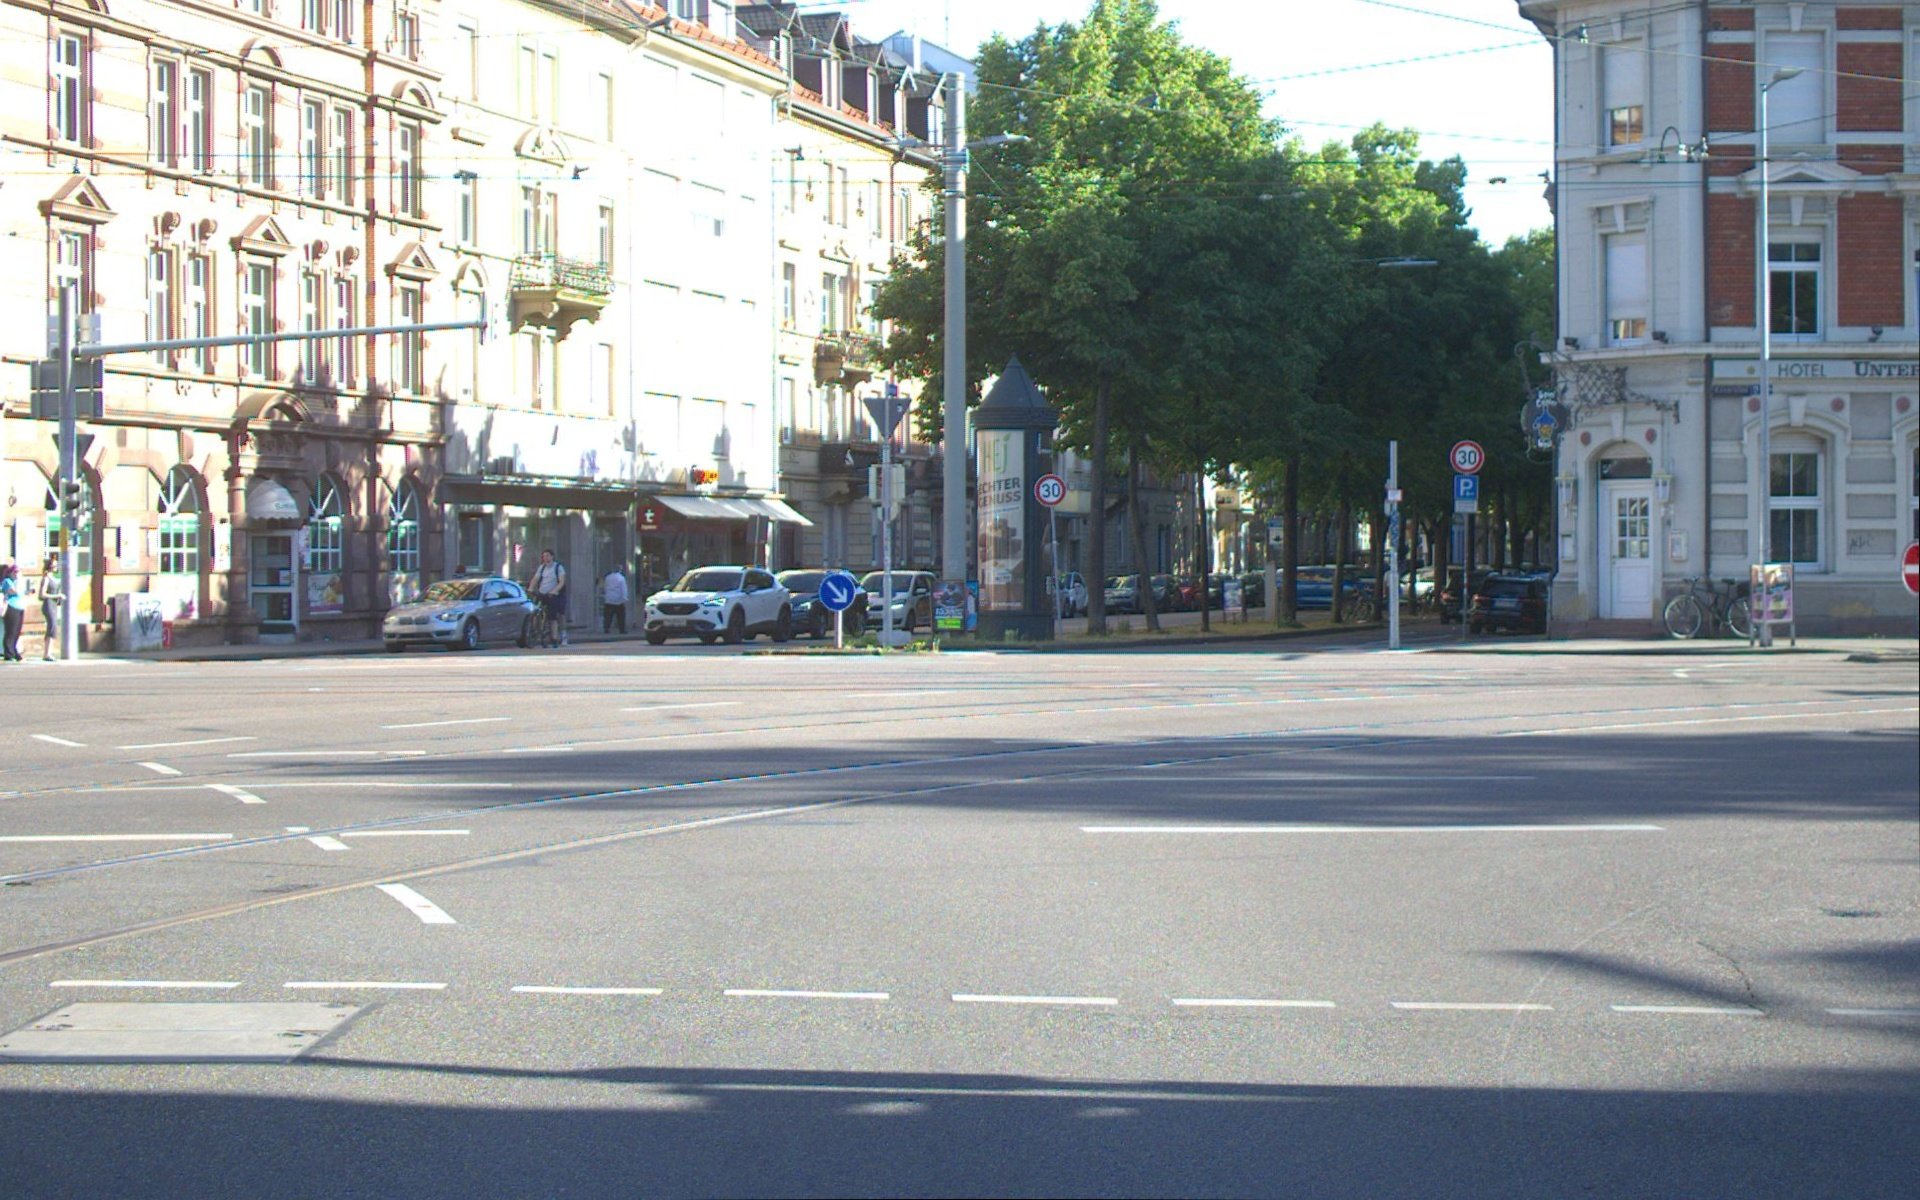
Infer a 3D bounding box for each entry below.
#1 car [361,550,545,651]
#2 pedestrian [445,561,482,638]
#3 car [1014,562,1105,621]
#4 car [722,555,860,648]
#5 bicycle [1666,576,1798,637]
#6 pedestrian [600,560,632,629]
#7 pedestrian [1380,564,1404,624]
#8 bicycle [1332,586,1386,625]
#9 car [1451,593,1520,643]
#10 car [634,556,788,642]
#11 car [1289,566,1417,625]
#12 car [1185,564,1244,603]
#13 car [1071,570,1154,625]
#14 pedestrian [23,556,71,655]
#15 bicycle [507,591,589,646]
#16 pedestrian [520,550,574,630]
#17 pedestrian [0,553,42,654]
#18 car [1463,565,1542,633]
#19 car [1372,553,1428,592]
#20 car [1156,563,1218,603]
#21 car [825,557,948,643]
[{"bbox_3d":[-9.859,-0.006,67.159,1.995,1.897,3.997,1,1,17],"label":"car"},{"bbox_3d":[-10.682,-0.014,74.017,0.544,1.626,0.706,1,0,13],"label":"pedestrian"},{"bbox_3d":[3.274,-0.285,112.715,1.995,1.897,3.997,1,1,17],"label":"car"},{"bbox_3d":[-3.571,0.018,73.214,1.994,1.897,3.998,1,1,11],"label":"car"},{"bbox_3d":[12.811,0.100,57.087,2.049,0.994,0.630,0,0,3],"label":"bicycle"},{"bbox_3d":[-8.205,-0.135,81.978,0.544,1.626,0.706,1,0,13],"label":"pedestrian"},{"bbox_3d":[12.860,-0.185,102.385,0.640,1.790,0.490,1,0,12],"label":"pedestrian"},{"bbox_3d":[11.499,0.161,99.083,0.626,1.081,1.703,1,1,-31],"label":"bicycle"},{"bbox_3d":[15.174,0.507,99.157,1.755,1.357,3.854,1,1,12],"label":"car"},{"bbox_3d":[-4.821,-0.036,67.133,1.994,1.612,3.998,1,1,11],"label":"car"},{"bbox_3d":[13.154,-0.173,114.986,3.990,1.897,1.998,1,0,16],"label":"car"},{"bbox_3d":[10.103,-0.665,136.292,1.560,1.508,3.653,1,1,17],"label":"car"},{"bbox_3d":[5.464,-0.117,122.618,1.995,1.897,3.997,1,1,17],"label":"car"},{"bbox_3d":[-15.190,0.089,57.192,0.633,1.628,0.701,1,0,-4],"label":"pedestrian"},{"bbox_3d":[-7.820,0.336,65.299,0.763,1.004,2.395,1,1,13],"label":"bicycle"},{"bbox_3d":[-7.834,-0.191,65.219,0.821,1.507,0.598,1,0,15],"label":"pedestrian"},{"bbox_3d":[-15.337,0.054,55.916,0.633,1.628,0.701,1,0,-4],"label":"pedestrian"},{"bbox_3d":[13.062,-0.039,82.605,1.692,1.559,3.839,1,1,11],"label":"car"},{"bbox_3d":[17.221,-1.078,134.550,1.560,1.508,3.653,1,1,17],"label":"car"},{"bbox_3d":[8.739,-0.667,132.002,1.560,1.508,3.653,1,1,17],"label":"car"},{"bbox_3d":[-1.680,-0.019,79.561,1.994,1.897,3.998,1,1,11],"label":"car"}]
